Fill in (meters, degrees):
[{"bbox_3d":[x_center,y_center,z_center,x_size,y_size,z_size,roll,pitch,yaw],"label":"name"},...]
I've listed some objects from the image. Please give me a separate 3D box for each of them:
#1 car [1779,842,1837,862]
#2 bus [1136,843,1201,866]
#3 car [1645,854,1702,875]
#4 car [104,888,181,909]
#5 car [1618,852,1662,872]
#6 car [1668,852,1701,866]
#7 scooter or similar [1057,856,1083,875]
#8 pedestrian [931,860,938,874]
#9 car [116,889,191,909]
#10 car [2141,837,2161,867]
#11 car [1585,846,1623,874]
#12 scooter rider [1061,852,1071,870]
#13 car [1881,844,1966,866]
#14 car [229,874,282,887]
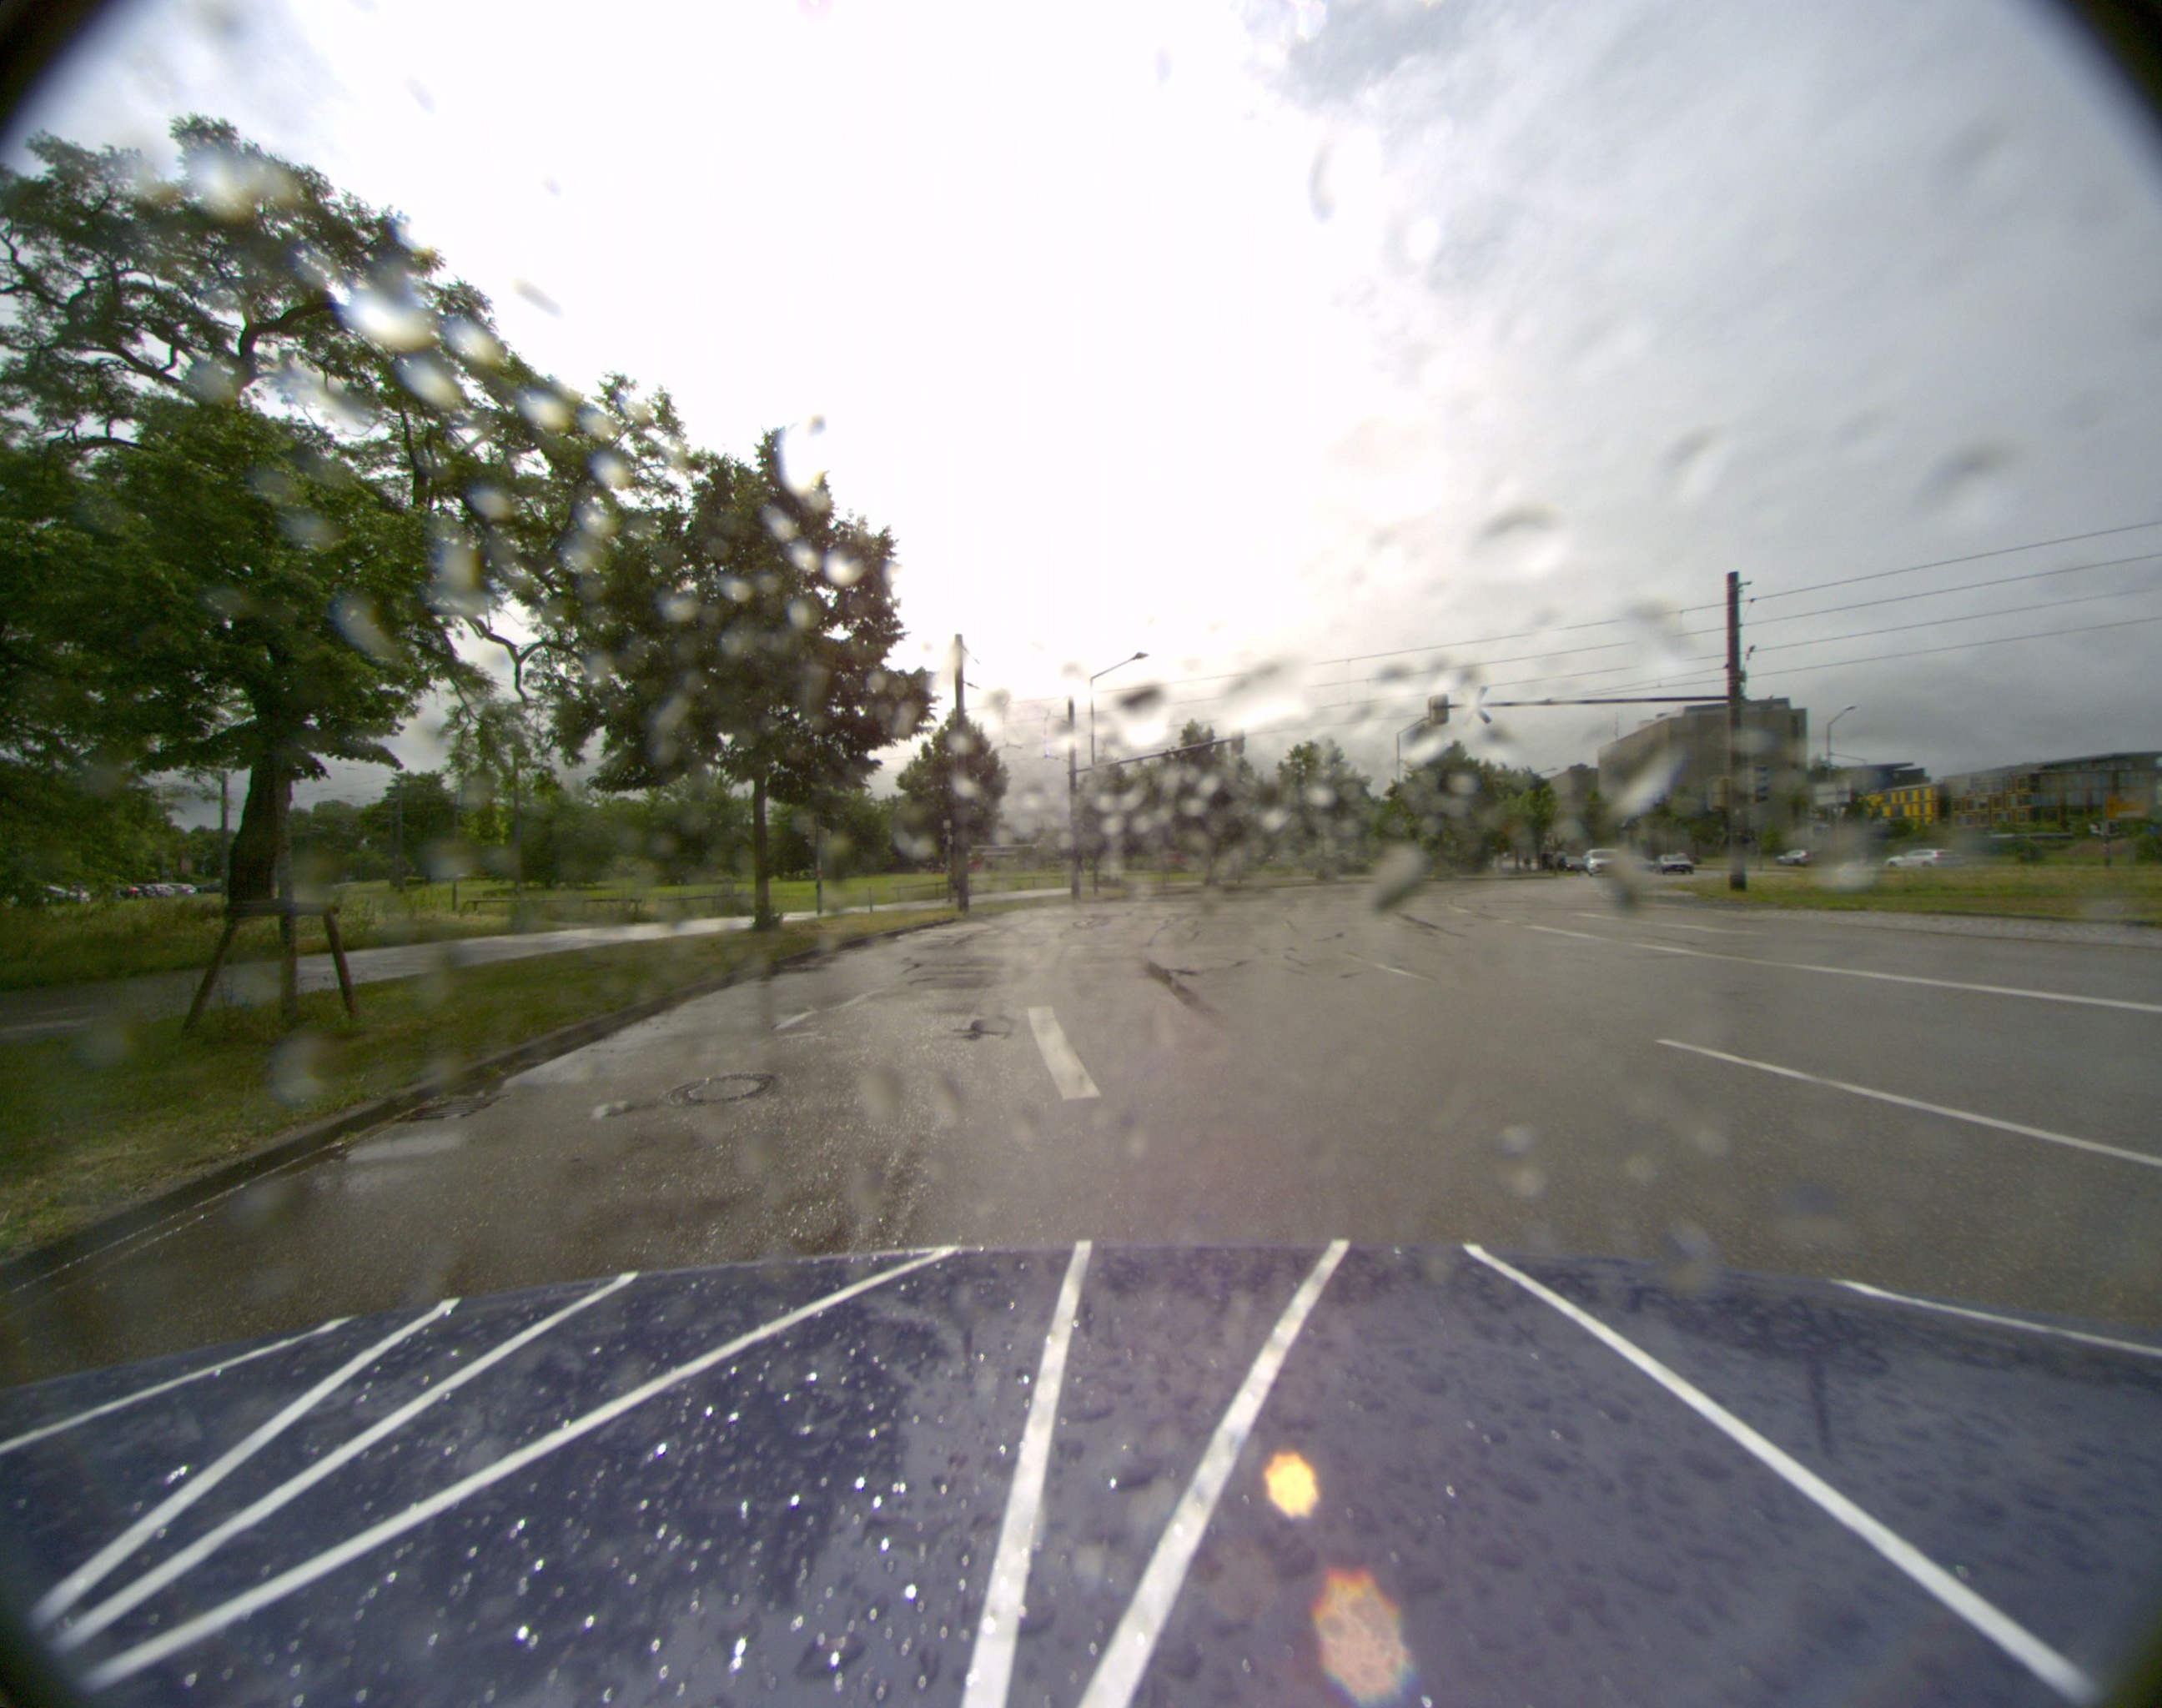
[{"bbox_3d":[63.116,-0.122,66.057,1.872,1.653,4.490,-1,-1,18],"label":"car"},{"bbox_3d":[15.120,0.067,131.778,10.967,3.438,2.003,-3,-2,12],"label":"bus"},{"bbox_3d":[41.825,0.760,53.794,1.863,1.372,4.559,-2,-1,20],"label":"car"},{"bbox_3d":[-82.966,3.925,67.276,3.986,1.550,1.845,-2,0,-41],"label":"car"},{"bbox_3d":[47.064,0.643,64.089,1.863,1.527,4.494,-1,0,21],"label":"car"},{"bbox_3d":[64.748,0.529,81.578,1.731,1.404,4.135,-1,-2,23],"label":"car"},{"bbox_3d":[-1.273,1.296,85.323,1.242,2.001,3.402,-1,-2,-31],"label":"scooter or similar"},{"bbox_3d":[-19.160,1.723,99.600,0.598,1.721,0.607,-3,-2,32],"label":"pedestrian"},{"bbox_3d":[-84.185,4.039,69.039,3.986,1.550,1.845,-2,0,-41],"label":"car"},{"bbox_3d":[61.617,-0.093,41.190,1.867,1.662,4.465,0,1,-11],"label":"car"},{"bbox_3d":[39.024,0.452,56.820,2.073,1.975,4.810,-1,-1,32],"label":"car"},{"bbox_3d":[-1.716,0.840,85.918,0.707,2.001,0.769,-1,-2,-34],"label":"scooter rider"},{"bbox_3d":[58.410,0.085,52.765,1.725,1.499,3.906,-1,0,5],"label":"car"},{"bbox_3d":[-107.506,3.445,99.022,4.412,1.550,1.845,-2,0,-41],"label":"car"}]
